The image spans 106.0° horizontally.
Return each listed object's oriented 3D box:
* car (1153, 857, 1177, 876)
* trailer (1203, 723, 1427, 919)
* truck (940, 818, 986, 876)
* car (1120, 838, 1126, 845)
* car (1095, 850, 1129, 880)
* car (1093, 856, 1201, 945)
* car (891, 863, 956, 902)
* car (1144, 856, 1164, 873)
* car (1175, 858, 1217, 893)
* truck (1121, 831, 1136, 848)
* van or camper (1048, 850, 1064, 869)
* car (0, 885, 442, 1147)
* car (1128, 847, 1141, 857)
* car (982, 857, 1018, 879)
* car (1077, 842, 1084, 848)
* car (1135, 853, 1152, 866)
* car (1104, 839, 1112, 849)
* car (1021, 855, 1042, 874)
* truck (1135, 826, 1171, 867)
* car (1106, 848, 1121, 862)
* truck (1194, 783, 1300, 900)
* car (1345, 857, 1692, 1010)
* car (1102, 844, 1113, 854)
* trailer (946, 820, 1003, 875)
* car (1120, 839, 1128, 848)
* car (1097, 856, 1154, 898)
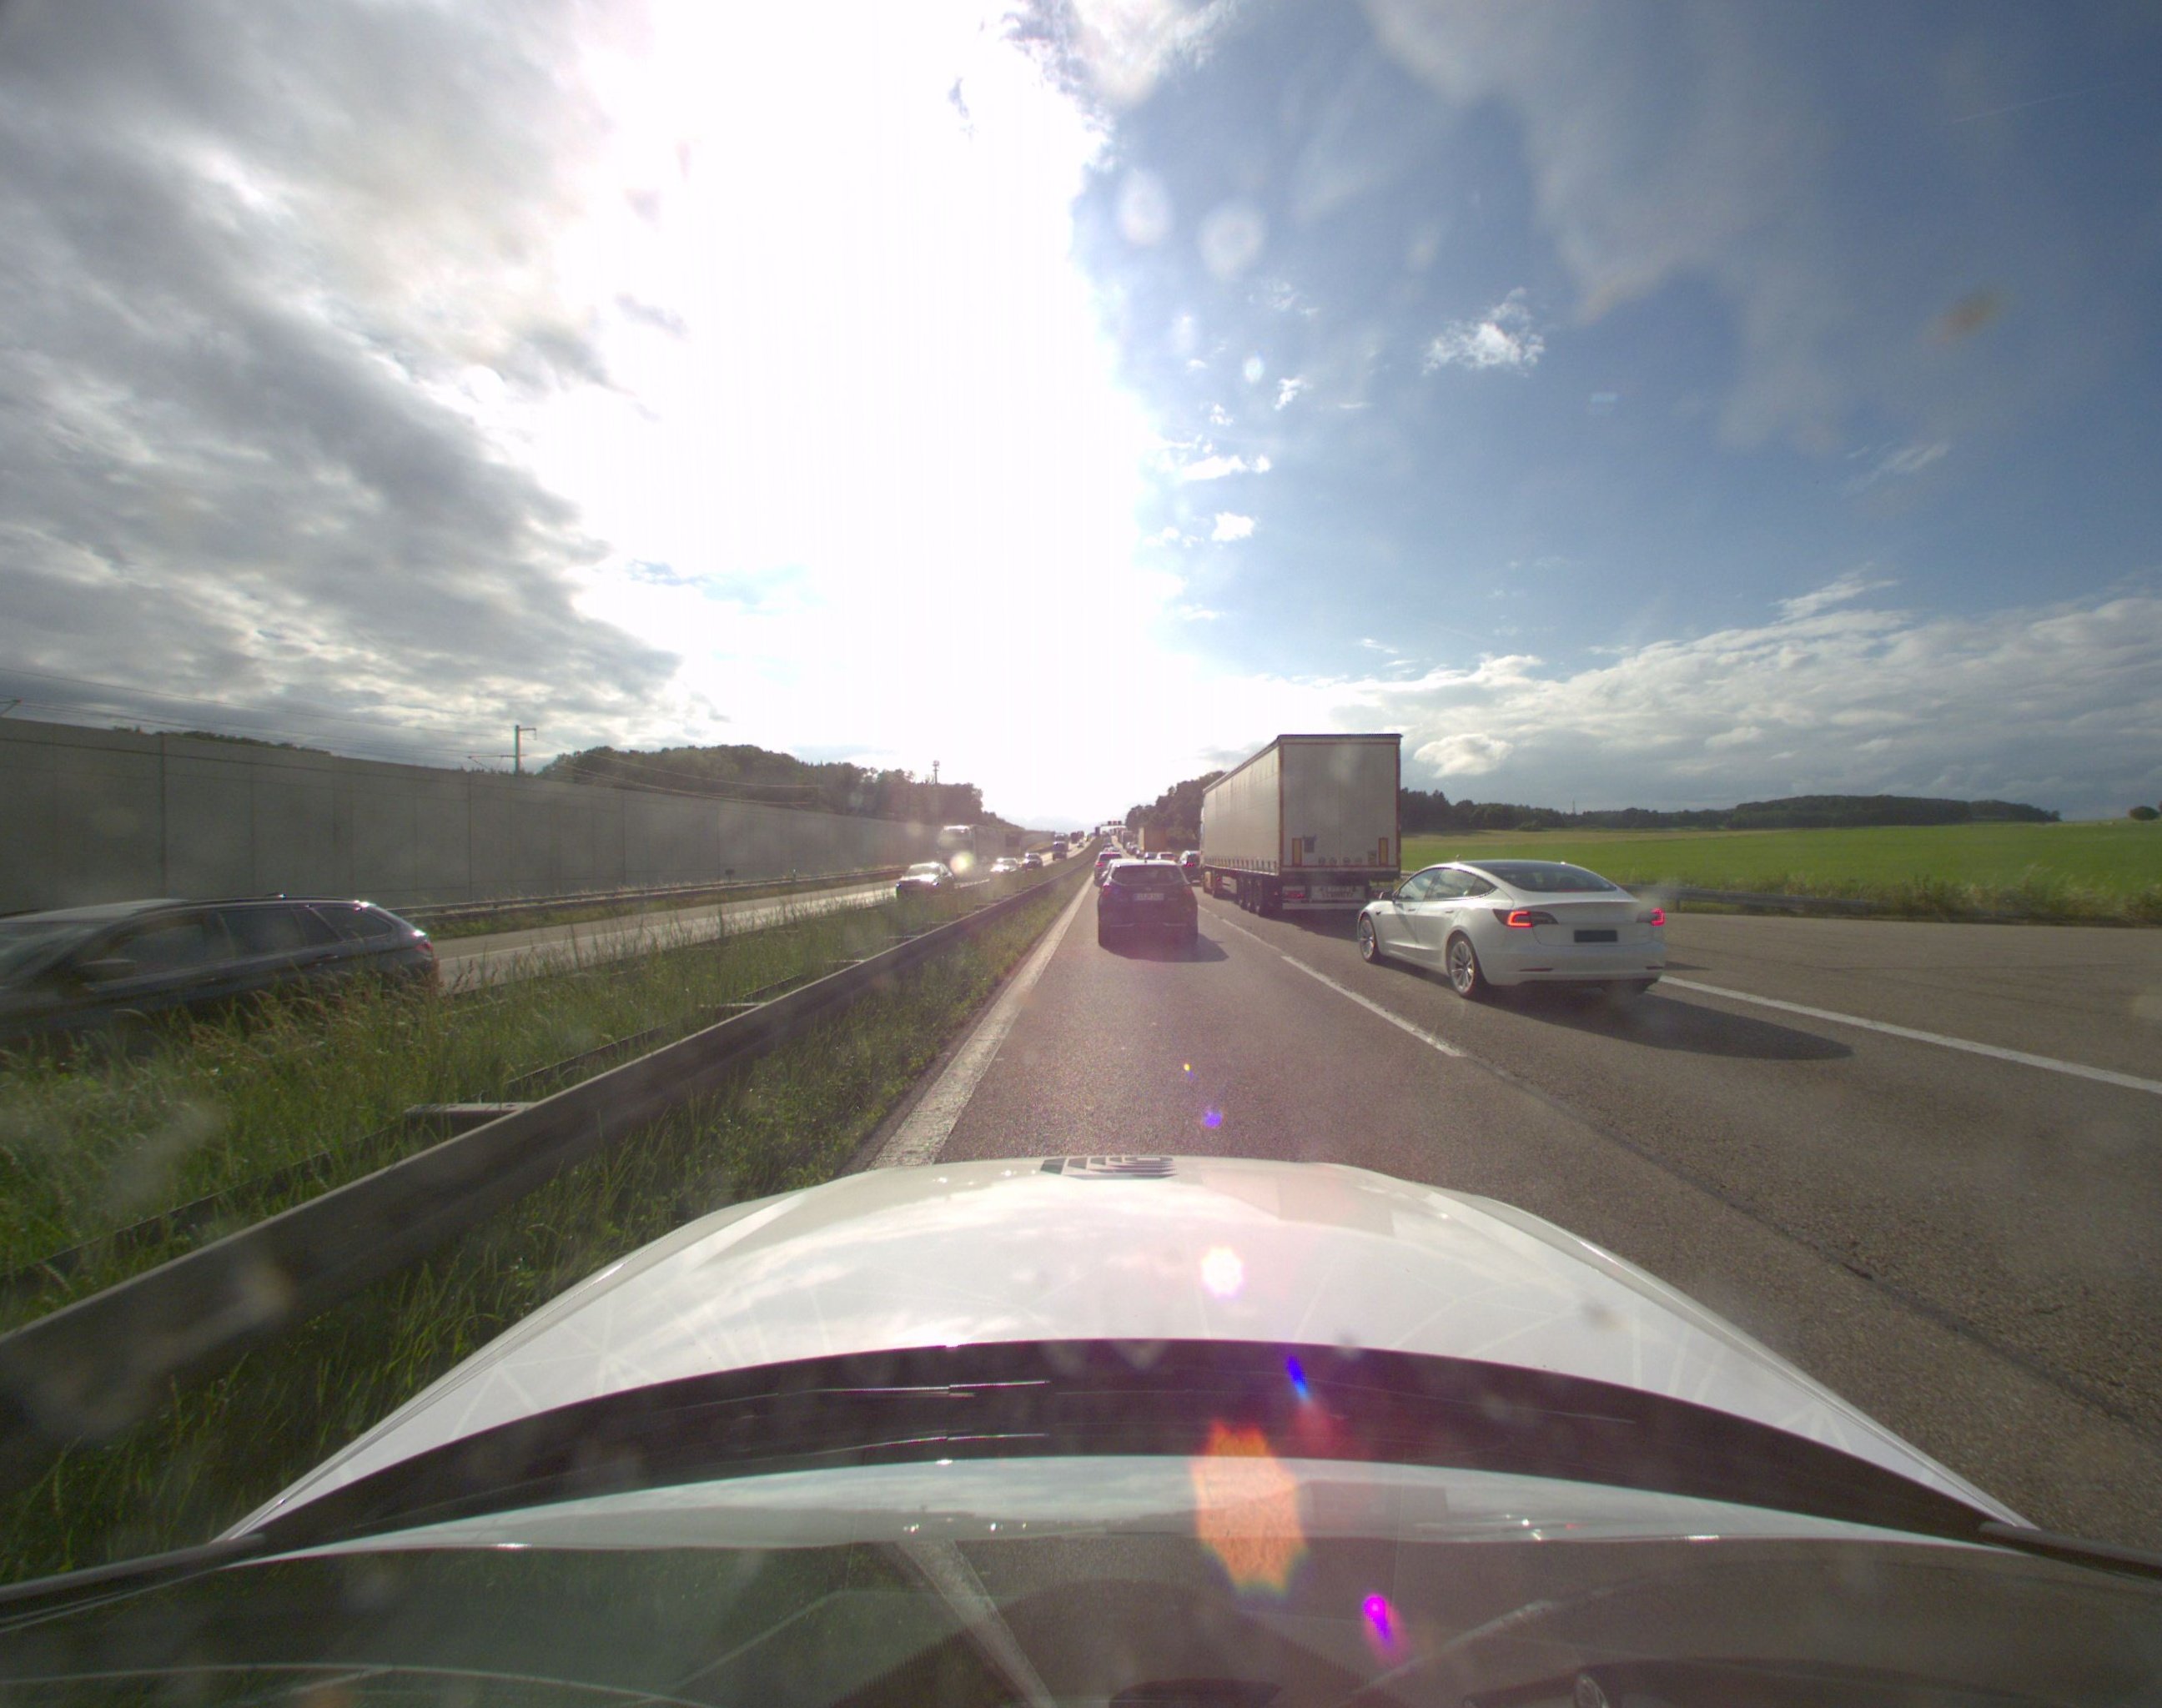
[{"bbox_3d":[7.611,1.083,73.931,1.866,1.644,4.234,-1,-1,2],"label":"car"},{"bbox_3d":[5.780,-0.529,23.400,3.118,4.011,13.373,-1,-1,3],"label":"trailer"},{"bbox_3d":[-8.995,-0.499,62.597,2.371,4.181,5.934,-2,-1,2],"label":"truck"},{"bbox_3d":[12.888,-3.885,251.379,1.866,2.158,5.214,-1,2,2],"label":"car"},{"bbox_3d":[1.836,0.639,47.755,1.866,1.644,4.234,-1,-1,2],"label":"car"},{"bbox_3d":[1.176,0.794,15.729,1.766,1.451,4.234,-1,-1,2],"label":"car"},{"bbox_3d":[-6.444,1.147,33.736,1.762,1.479,3.831,-2,-1,3],"label":"car"},{"bbox_3d":[7.498,1.022,84.063,1.866,1.644,4.234,-1,0,2],"label":"car"},{"bbox_3d":[5.706,1.055,40.722,1.690,1.611,4.440,-1,-1,3],"label":"car"},{"bbox_3d":[12.897,-3.967,222.038,3.452,4.577,12.442,0,1,1],"label":"truck"},{"bbox_3d":[-3.770,0.814,123.543,2.082,2.820,5.897,0,-1,2],"label":"van or camper"},{"bbox_3d":[-7.409,1.063,6.069,1.691,1.499,4.428,-1,-1,1],"label":"car"},{"bbox_3d":[9.147,-0.401,139.315,1.868,1.644,4.230,-1,1,-1],"label":"car"},{"bbox_3d":[-5.281,0.918,53.699,1.735,1.358,4.234,-1,-1,2],"label":"car"},{"bbox_3d":[0.002,-2.417,218.935,1.738,1.705,4.232,-4,0,0],"label":"car"},{"bbox_3d":[8.271,0.719,108.341,1.867,1.644,4.232,-1,0,0],"label":"car"},{"bbox_3d":[6.305,-2.408,188.799,1.866,2.158,5.214,-1,2,2],"label":"car"},{"bbox_3d":[-4.768,1.006,79.408,1.702,1.706,4.174,-1,-1,1],"label":"car"},{"bbox_3d":[8.411,-0.741,96.996,3.285,4.577,12.440,0,-1,1],"label":"truck"},{"bbox_3d":[4.248,0.092,105.096,1.866,1.644,4.235,-1,1,2],"label":"car"},{"bbox_3d":[6.116,-0.381,30.791,3.121,4.016,5.166,-1,-1,2],"label":"truck"},{"bbox_3d":[4.798,0.749,9.799,1.783,1.394,4.436,-1,0,0],"label":"car"},{"bbox_3d":[4.665,-0.965,144.363,1.867,1.644,4.233,-1,1,1],"label":"car"},{"bbox_3d":[-8.755,-0.439,68.783,2.380,4.182,13.210,-2,-1,2],"label":"trailer"},{"bbox_3d":[10.327,-2.557,196.666,1.866,2.158,5.214,-1,2,2],"label":"car"},{"bbox_3d":[1.583,0.784,29.425,1.866,1.358,4.234,-1,-1,2],"label":"car"}]
